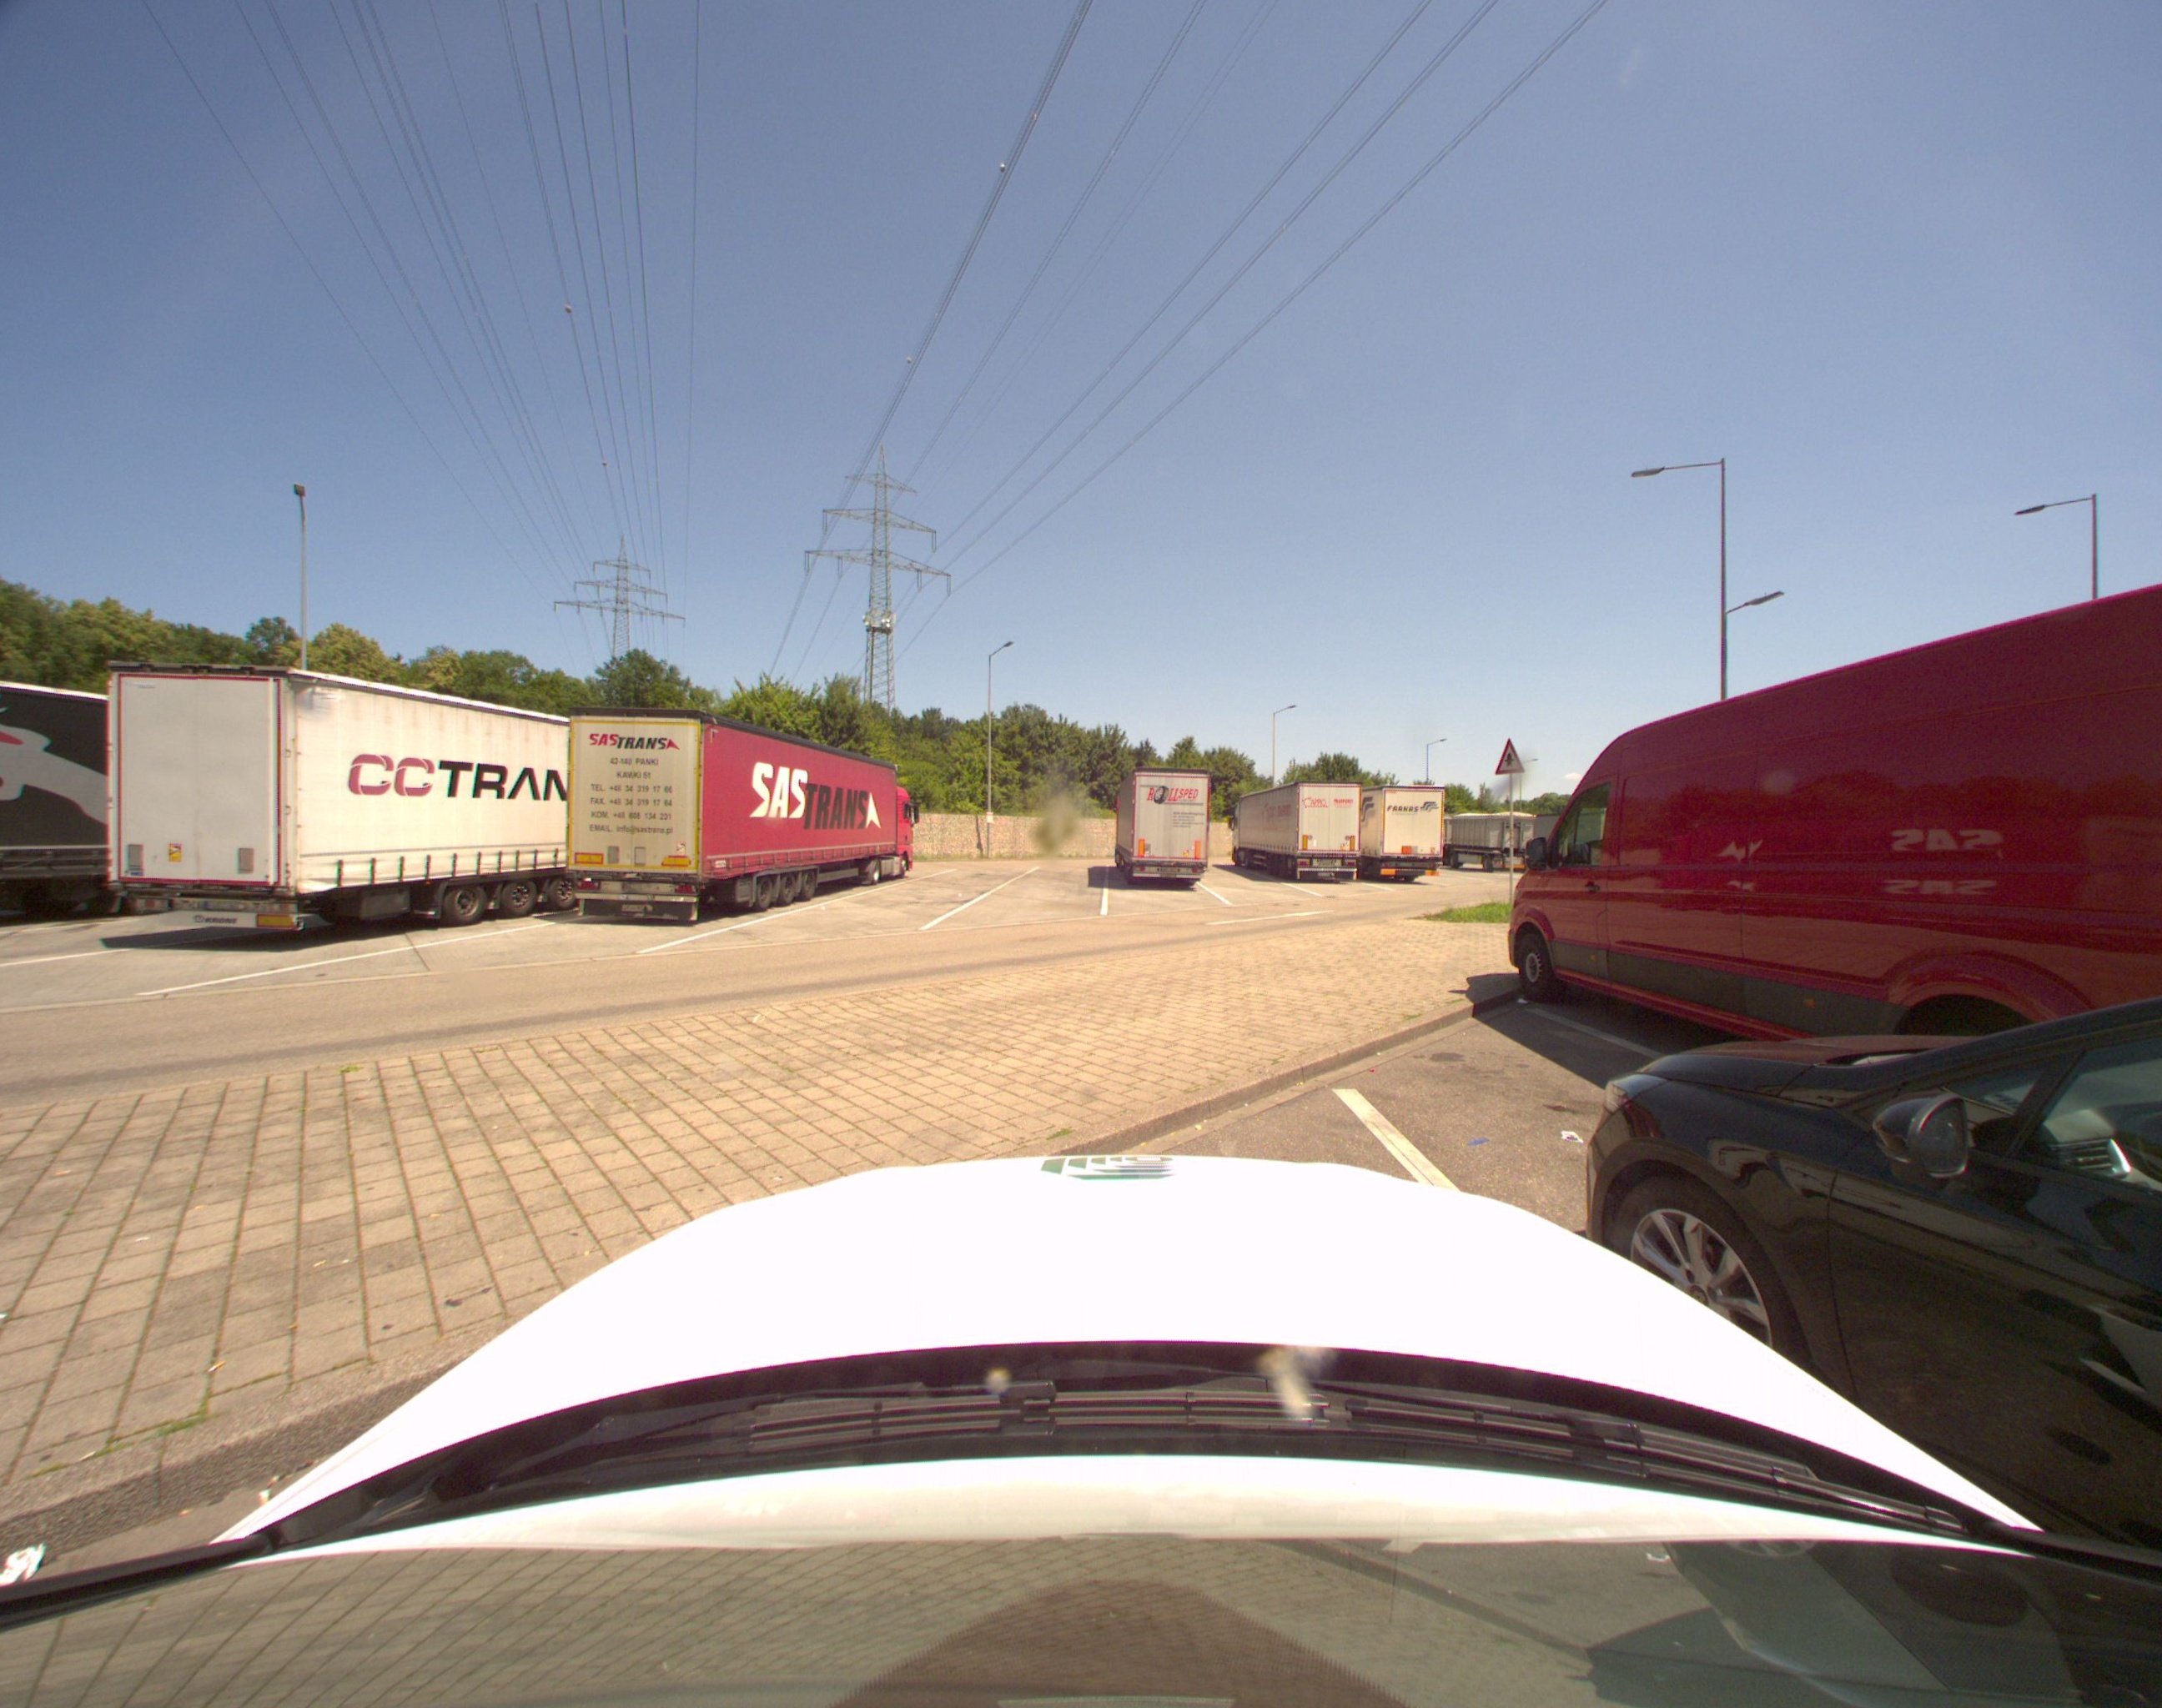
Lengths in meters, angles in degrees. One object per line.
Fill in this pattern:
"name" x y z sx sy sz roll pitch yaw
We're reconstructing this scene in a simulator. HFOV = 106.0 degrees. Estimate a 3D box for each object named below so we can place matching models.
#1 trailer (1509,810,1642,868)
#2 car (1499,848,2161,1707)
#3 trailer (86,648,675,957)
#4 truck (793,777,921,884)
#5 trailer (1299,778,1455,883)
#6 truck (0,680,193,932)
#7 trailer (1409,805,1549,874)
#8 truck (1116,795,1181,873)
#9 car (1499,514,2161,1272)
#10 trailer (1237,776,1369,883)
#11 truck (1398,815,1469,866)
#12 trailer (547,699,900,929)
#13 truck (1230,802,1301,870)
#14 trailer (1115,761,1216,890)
"trailer" 38.388 -1.221 64.130 2.826 4.049 13.737 1 2 3
"car" 2.526 0.755 1.176 1.733 1.482 3.813 -1 1 -3
"trailer" -12.195 -0.888 16.326 2.718 4.209 10.175 1 2 2
"truck" -7.790 -0.831 29.091 2.841 3.427 5.486 1 1 2
"trailer" 13.623 -1.112 39.282 2.828 4.132 13.730 1 2 2
"truck" -18.571 -0.801 13.562 2.692 4.016 4.326 1 2 2
"trailer" 24.544 -0.989 51.447 2.826 3.717 13.737 1 2 3
"truck" 3.180 -0.981 39.905 2.841 3.483 5.486 1 1 2
"car" 5.169 0.089 5.486 2.055 2.695 6.405 -1 1 6
"trailer" 9.966 -1.146 38.619 2.828 4.132 13.730 1 2 2
"truck" 24.934 -0.997 57.946 2.840 3.364 5.488 1 1 3
"trailer" -8.029 -0.950 21.654 2.896 4.131 13.731 1 2 2
"truck" 10.175 -1.019 45.430 2.841 3.483 5.486 1 1 2
"trailer" 3.035 -1.096 33.293 2.896 4.132 13.727 1 2 1
